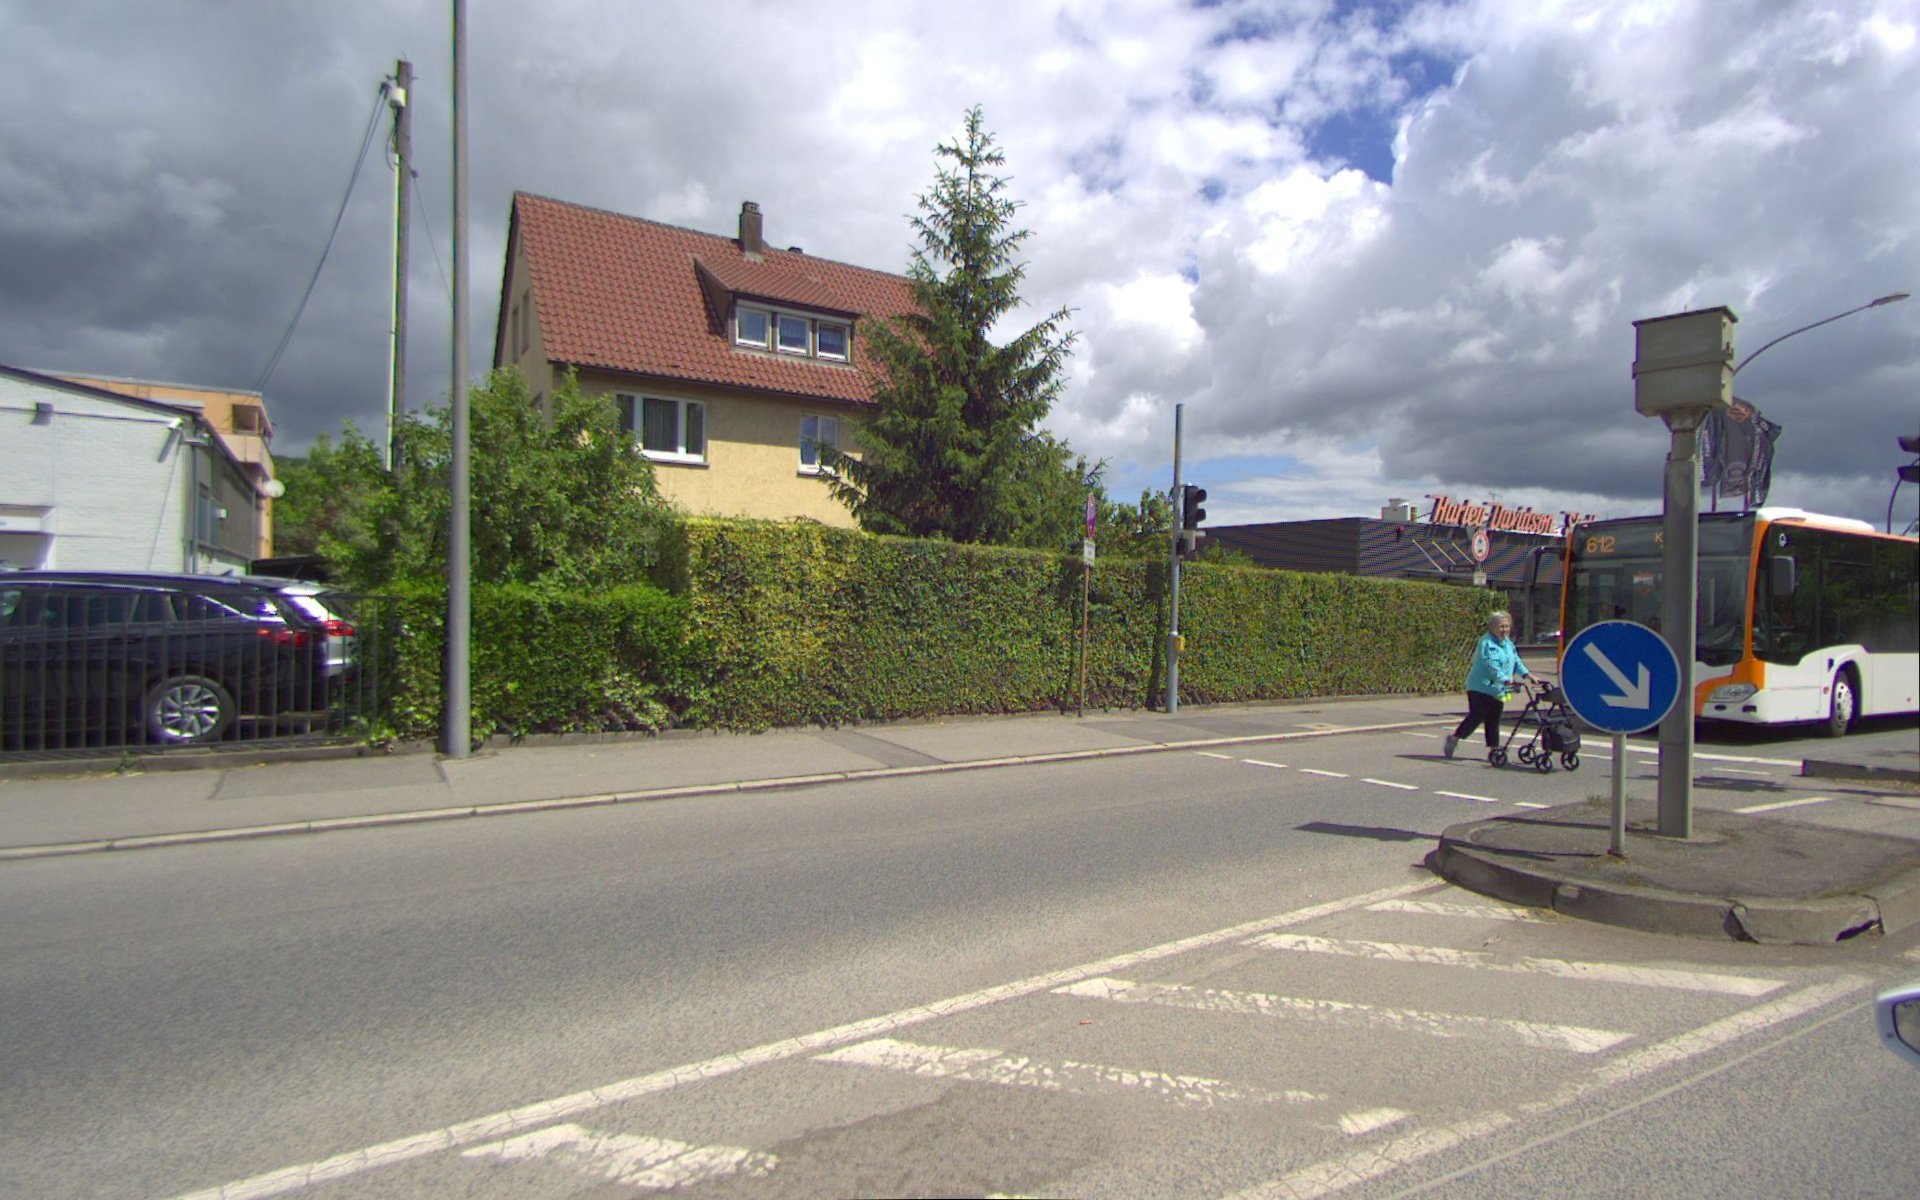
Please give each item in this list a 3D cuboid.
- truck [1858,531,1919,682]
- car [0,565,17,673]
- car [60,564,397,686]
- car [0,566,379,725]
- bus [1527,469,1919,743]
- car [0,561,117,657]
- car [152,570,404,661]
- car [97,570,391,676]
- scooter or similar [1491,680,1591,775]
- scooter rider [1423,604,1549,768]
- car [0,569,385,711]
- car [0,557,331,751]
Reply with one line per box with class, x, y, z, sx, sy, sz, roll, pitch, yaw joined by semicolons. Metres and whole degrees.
truck;30.097;0.295;30.520;9.068;4.186;2.410;2;2;-38
car;-16.485;0.250;14.508;3.963;1.639;1.763;1;-1;-37
car;-10.967;0.378;15.393;3.959;1.639;1.765;1;-1;-34
car;-8.957;0.449;11.120;4.224;1.527;2.140;1;0;-35
bus;14.050;0.244;16.417;11.982;3.309;2.764;2;-1;-31
car;-17.408;0.137;17.543;3.963;1.639;1.763;1;-1;-37
car;-13.415;0.315;19.917;3.963;1.639;1.763;1;-1;-37
car;-12.271;0.392;17.441;3.963;1.639;1.763;1;-1;-37
scooter or similar;5.801;1.252;10.033;0.652;0.843;0.608;1;1;-31
scooter rider;5.505;0.860;10.535;0.787;1.611;0.873;1;0;-31
car;-10.003;0.502;13.361;3.959;1.639;1.765;1;-1;-34
car;-8.079;0.426;8.858;4.224;1.527;2.140;1;-1;-35
